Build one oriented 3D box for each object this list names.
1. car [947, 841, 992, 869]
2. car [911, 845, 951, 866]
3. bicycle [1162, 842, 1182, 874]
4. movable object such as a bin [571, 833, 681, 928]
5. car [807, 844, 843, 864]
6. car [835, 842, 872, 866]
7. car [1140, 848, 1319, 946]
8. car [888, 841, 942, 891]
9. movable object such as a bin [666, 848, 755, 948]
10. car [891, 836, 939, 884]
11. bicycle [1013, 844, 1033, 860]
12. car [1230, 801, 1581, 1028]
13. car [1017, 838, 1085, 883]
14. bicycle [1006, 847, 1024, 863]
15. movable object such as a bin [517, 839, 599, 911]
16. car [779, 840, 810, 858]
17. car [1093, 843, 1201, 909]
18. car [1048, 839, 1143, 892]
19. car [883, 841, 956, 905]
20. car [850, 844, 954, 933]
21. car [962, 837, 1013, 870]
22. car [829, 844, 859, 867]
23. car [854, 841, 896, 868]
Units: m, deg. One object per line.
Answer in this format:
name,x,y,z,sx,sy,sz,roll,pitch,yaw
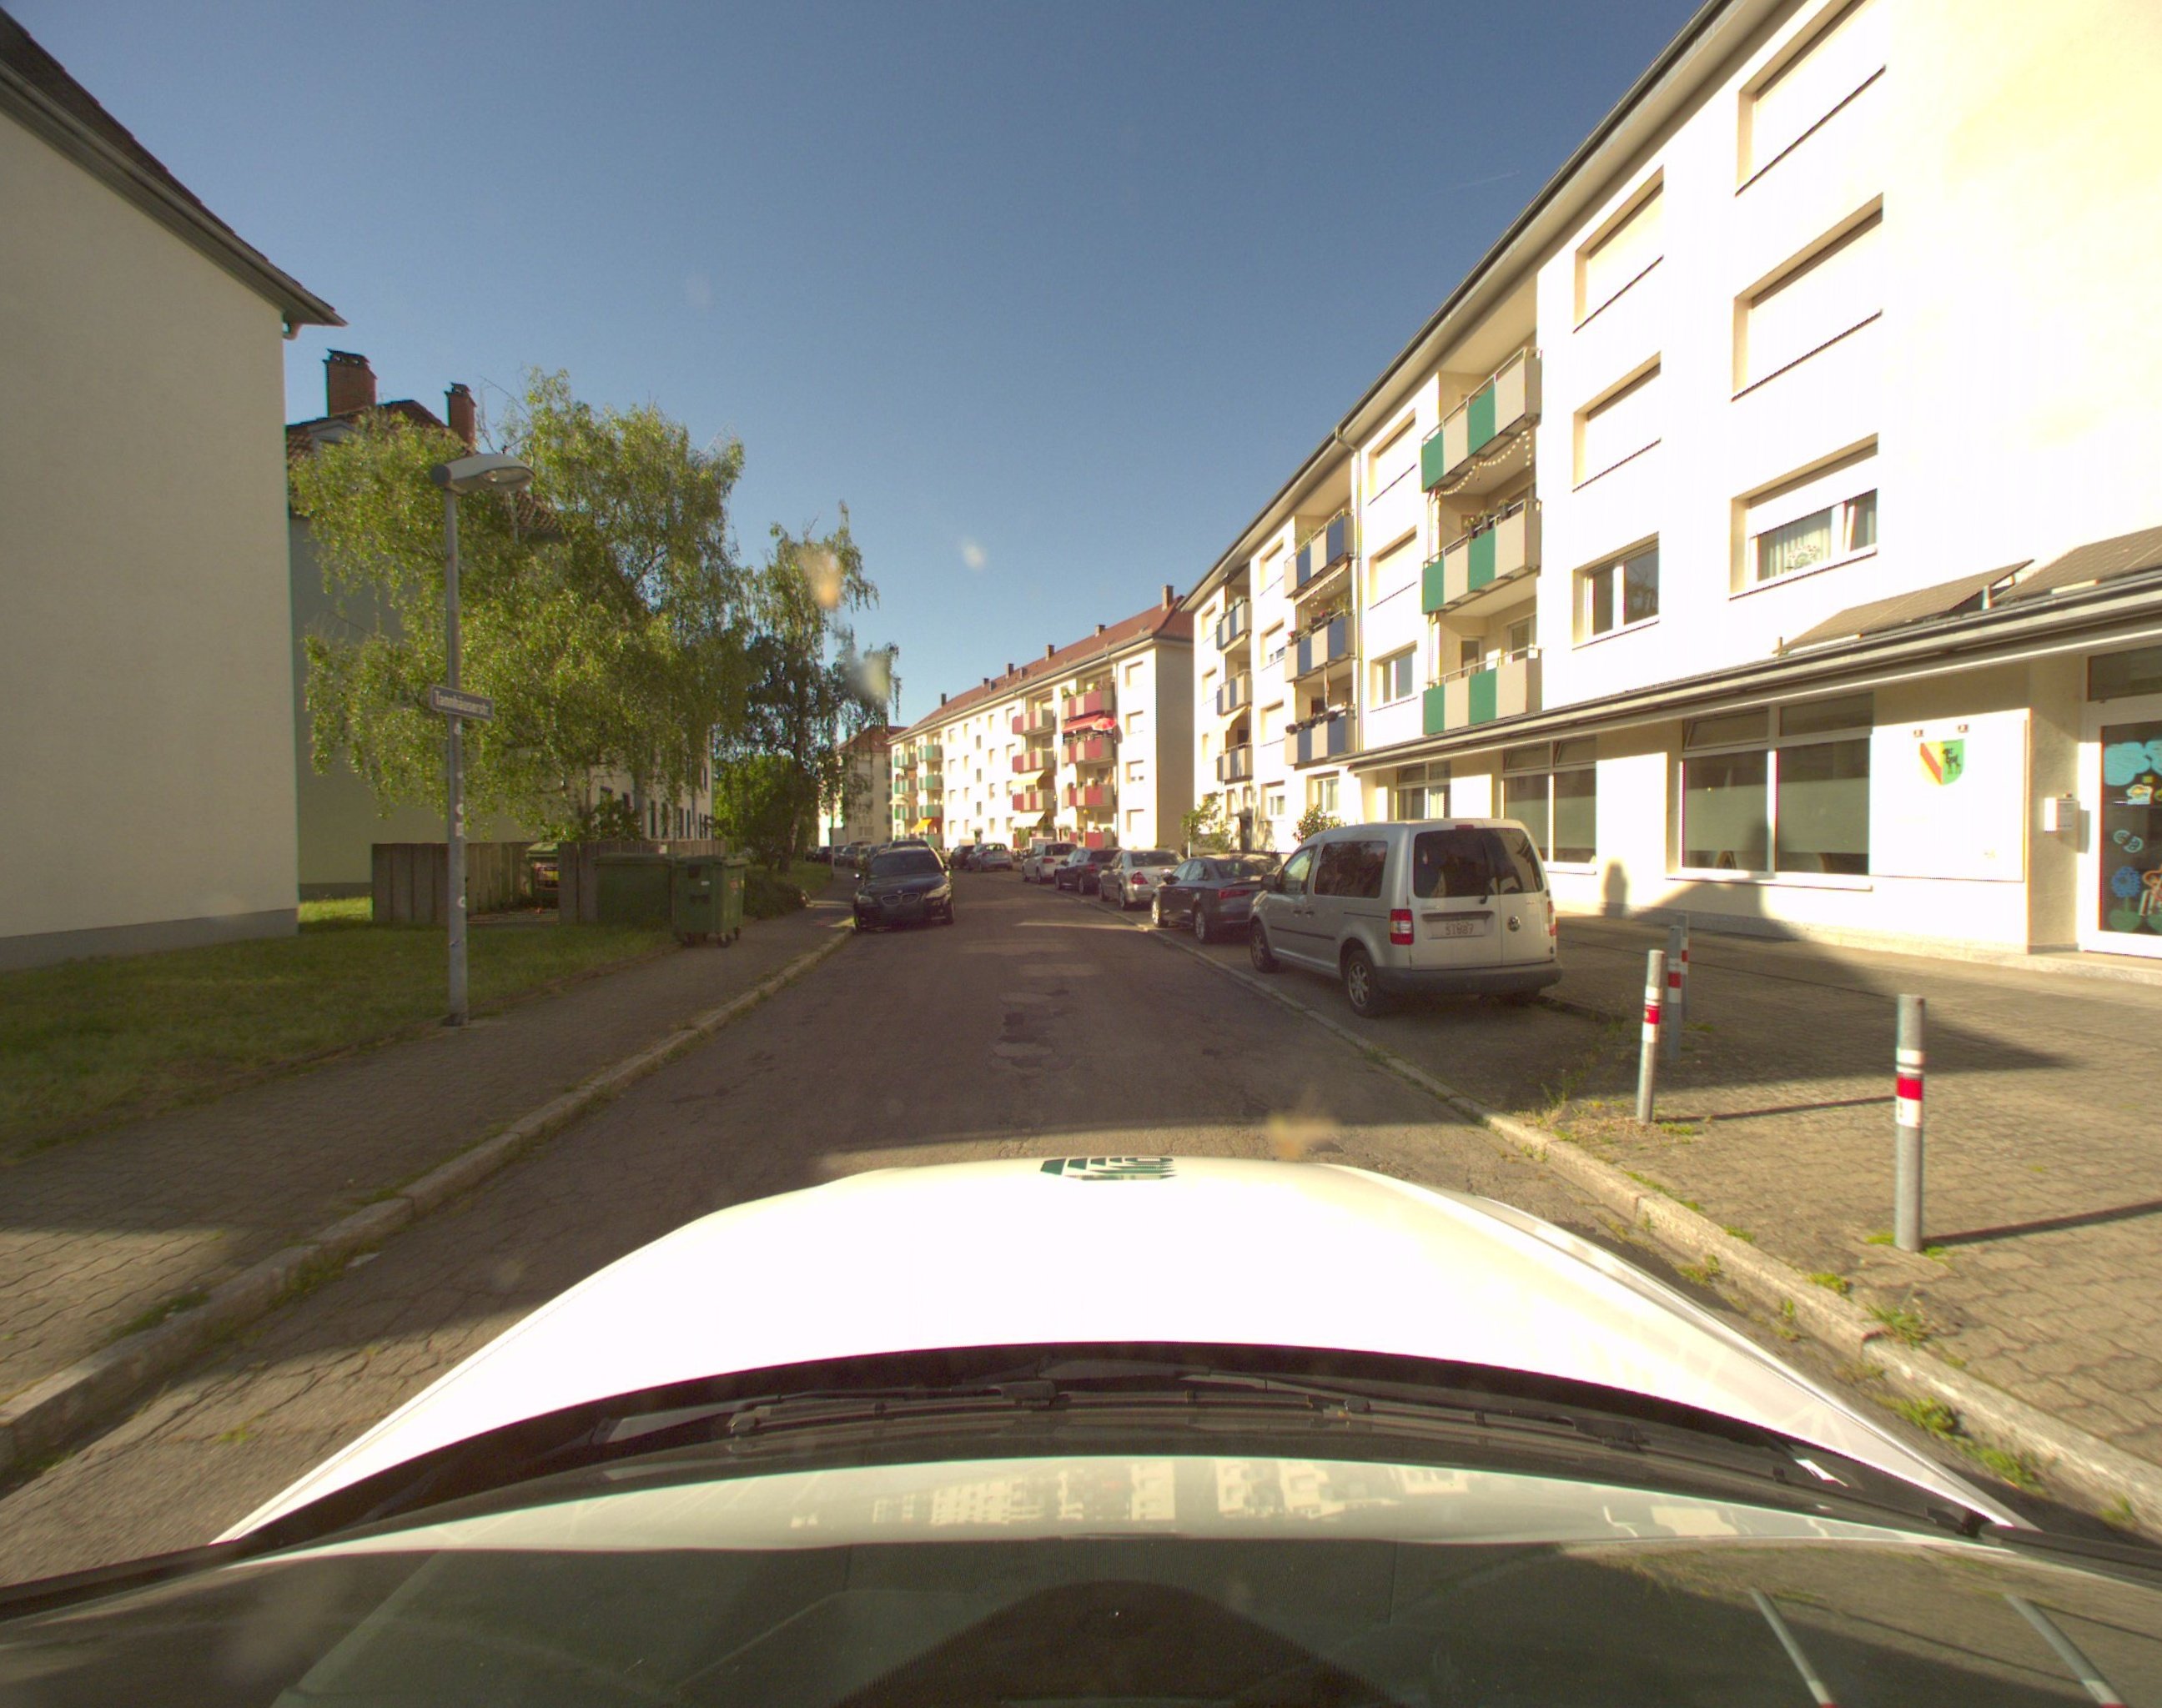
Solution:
car,-6.874,0.025,49.938,1.743,1.508,3.856,-4,2,-23
car,-10.975,0.096,59.434,1.695,1.363,4.202,-4,3,-27
bicycle,3.648,0.157,32.687,0.513,1.202,1.760,-2,2,-2
movable object such as a bin,-6.838,0.381,12.297,1.216,1.380,0.767,0,1,-1
car,-19.932,-0.011,63.309,1.754,1.431,4.557,-4,2,-28
car,-14.988,-0.030,53.520,1.577,1.464,4.226,-3,2,-26
car,2.456,0.631,14.700,1.678,1.407,4.529,-1,1,-11
car,-5.577,0.331,27.249,1.557,1.442,3.952,-4,2,-12
movable object such as a bin,-5.543,0.617,12.285,0.774,1.392,1.415,-1,1,-6
car,-6.835,0.195,33.264,1.558,1.714,4.315,-4,2,-15
bicycle,-3.887,-0.147,54.558,0.620,0.978,1.880,-5,4,-25
car,3.192,0.462,9.029,1.746,1.823,4.121,-3,2,-8
car,-1.293,0.192,33.078,1.698,1.655,4.366,-2,2,-16
bicycle,-4.383,0.034,53.960,0.500,1.019,1.826,-3,2,-26
movable object such as a bin,-11.106,0.429,17.329,1.059,1.435,1.001,-3,1,-6
car,-25.548,-0.460,72.590,1.670,1.443,3.831,-3,2,-33
car,1.534,0.464,20.794,1.678,1.447,4.709,-1,1,-9
car,0.354,0.364,26.530,1.698,1.431,4.661,-5,0,-17
car,-4.395,0.424,22.056,1.679,1.442,4.262,-4,2,-12
car,-3.553,0.578,16.866,1.677,1.452,4.608,-4,2,-8
car,-5.235,-0.068,45.166,1.773,1.635,4.011,-3,3,-22
car,-17.098,0.104,58.667,1.486,1.477,3.601,-5,3,-25
car,-11.888,0.007,46.814,1.701,1.389,4.125,-2,2,-23
